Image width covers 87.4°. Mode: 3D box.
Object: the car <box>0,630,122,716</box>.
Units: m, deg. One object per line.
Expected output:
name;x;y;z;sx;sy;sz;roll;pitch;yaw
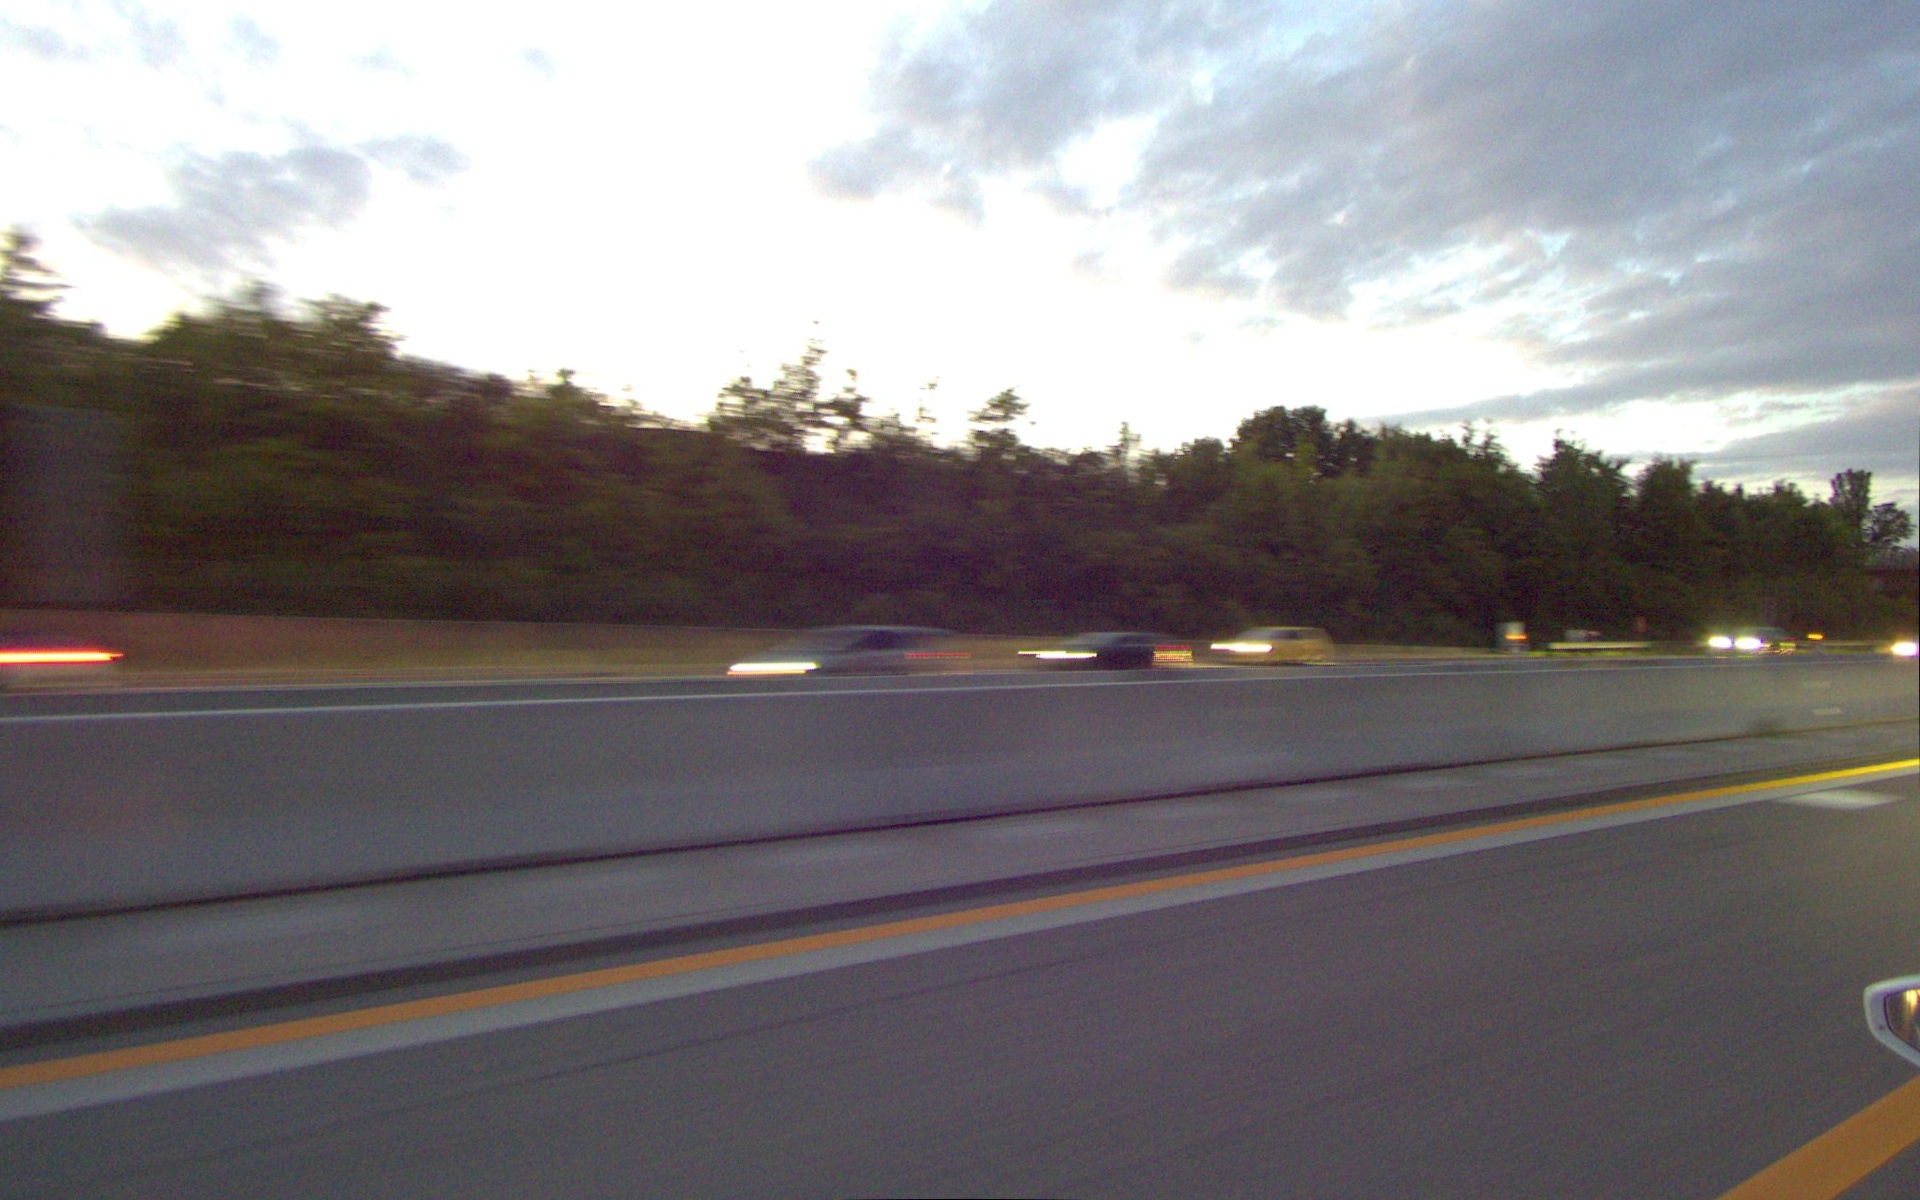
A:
car;-18.877;1.376;19.184;4.127;1.527;1.657;2;0;-29

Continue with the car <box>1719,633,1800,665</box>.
car;44.315;2.723;55.669;4.692;1.660;1.797;2;0;-28

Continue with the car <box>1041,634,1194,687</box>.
car;4.995;1.887;31.704;4.643;1.505;1.803;2;0;-29

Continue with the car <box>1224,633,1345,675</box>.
car;12.844;2.135;39.695;4.643;1.505;1.818;2;0;-29

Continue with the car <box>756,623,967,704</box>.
car;-2.374;1.509;24.553;4.748;1.761;1.892;2;0;-29

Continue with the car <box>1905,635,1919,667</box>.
car;52.372;2.744;53.410;4.692;1.660;1.672;2;0;-28
